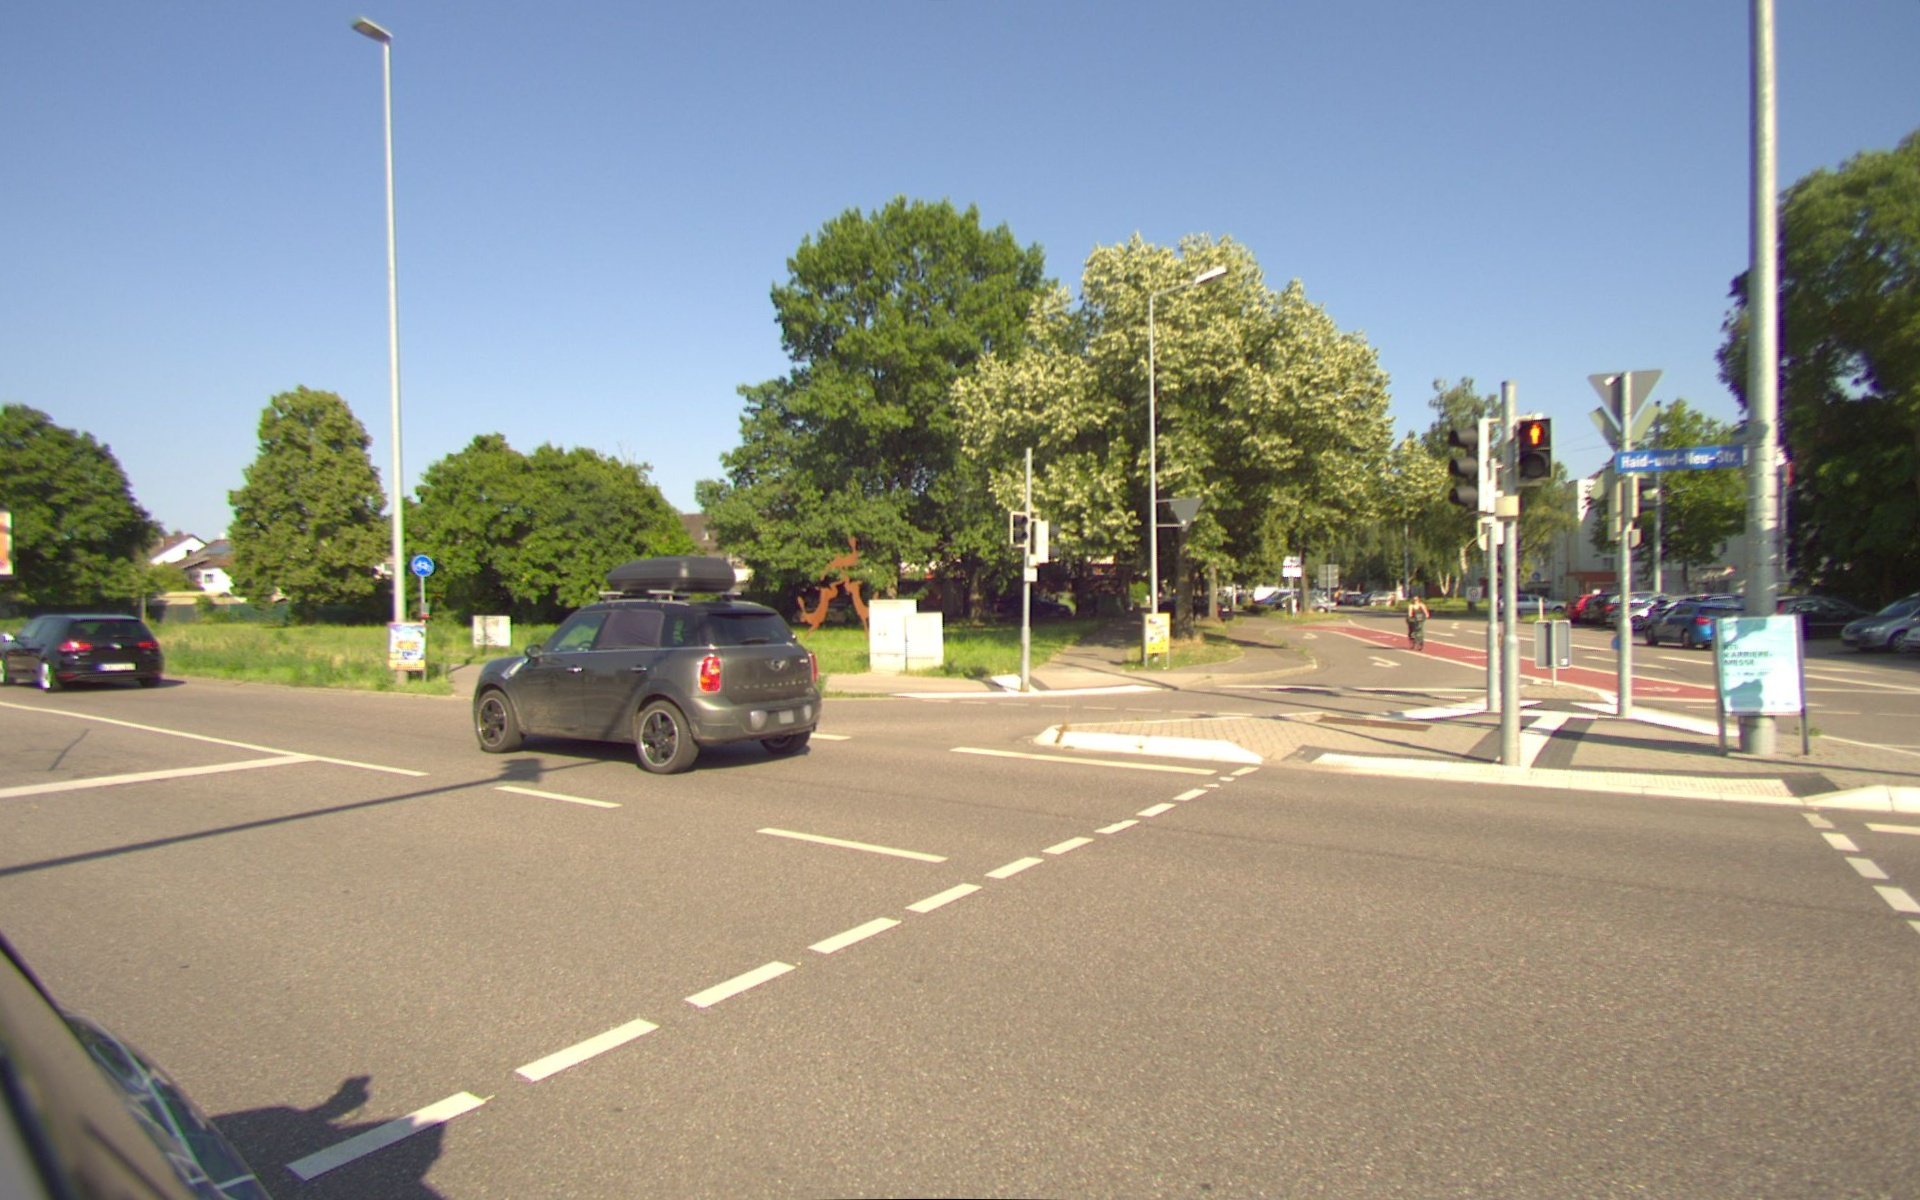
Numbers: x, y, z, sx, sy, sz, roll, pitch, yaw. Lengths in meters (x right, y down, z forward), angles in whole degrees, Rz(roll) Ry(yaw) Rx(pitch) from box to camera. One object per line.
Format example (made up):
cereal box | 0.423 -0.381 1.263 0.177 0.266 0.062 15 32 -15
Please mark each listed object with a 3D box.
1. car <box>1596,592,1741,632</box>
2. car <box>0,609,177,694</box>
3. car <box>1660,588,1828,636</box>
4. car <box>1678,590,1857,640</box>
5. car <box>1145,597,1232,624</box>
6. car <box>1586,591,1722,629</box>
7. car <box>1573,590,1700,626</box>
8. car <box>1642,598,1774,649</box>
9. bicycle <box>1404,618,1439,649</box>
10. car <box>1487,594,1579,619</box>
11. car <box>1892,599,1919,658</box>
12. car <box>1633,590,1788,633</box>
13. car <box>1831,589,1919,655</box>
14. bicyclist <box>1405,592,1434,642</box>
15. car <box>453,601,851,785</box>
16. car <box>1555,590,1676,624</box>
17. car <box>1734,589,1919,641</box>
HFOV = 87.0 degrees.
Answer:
car | 30.975 0.527 44.386 4.766 1.488 1.778 -3 0 13
car | -17.263 0.924 19.776 4.088 1.485 1.874 0 0 33
car | 30.390 0.471 39.373 4.766 1.488 1.778 -4 -1 13
car | 29.336 0.537 36.923 4.667 1.488 1.778 -4 -1 13
car | 12.122 0.538 54.003 1.500 1.330 4.782 -1 0 -35
car | 31.935 0.453 46.688 4.766 1.488 1.778 -3 0 13
car | 32.995 0.370 49.511 4.766 1.488 1.778 -3 0 13
car | 22.631 0.653 30.828 1.768 1.425 4.225 0 0 15
bicycle | 14.551 1.037 31.968 0.648 0.910 1.802 -1 0 13
car | 36.134 0.404 63.951 4.773 1.488 1.775 0 0 17
car | 26.874 0.733 25.956 3.963 1.532 1.777 -1 0 15
car | 30.896 0.481 41.818 4.729 1.488 1.778 -3 0 13
car | 27.550 0.587 28.632 3.963 1.824 1.777 0 0 15
bicyclist | 14.617 0.531 32.181 0.610 1.535 0.626 -2 0 6
car | -3.203 0.787 10.265 3.989 1.531 1.774 0 0 34
car | 33.469 0.352 51.783 4.766 1.488 1.778 -3 0 13
car | 29.751 0.512 34.657 4.766 1.488 1.778 -3 0 13
